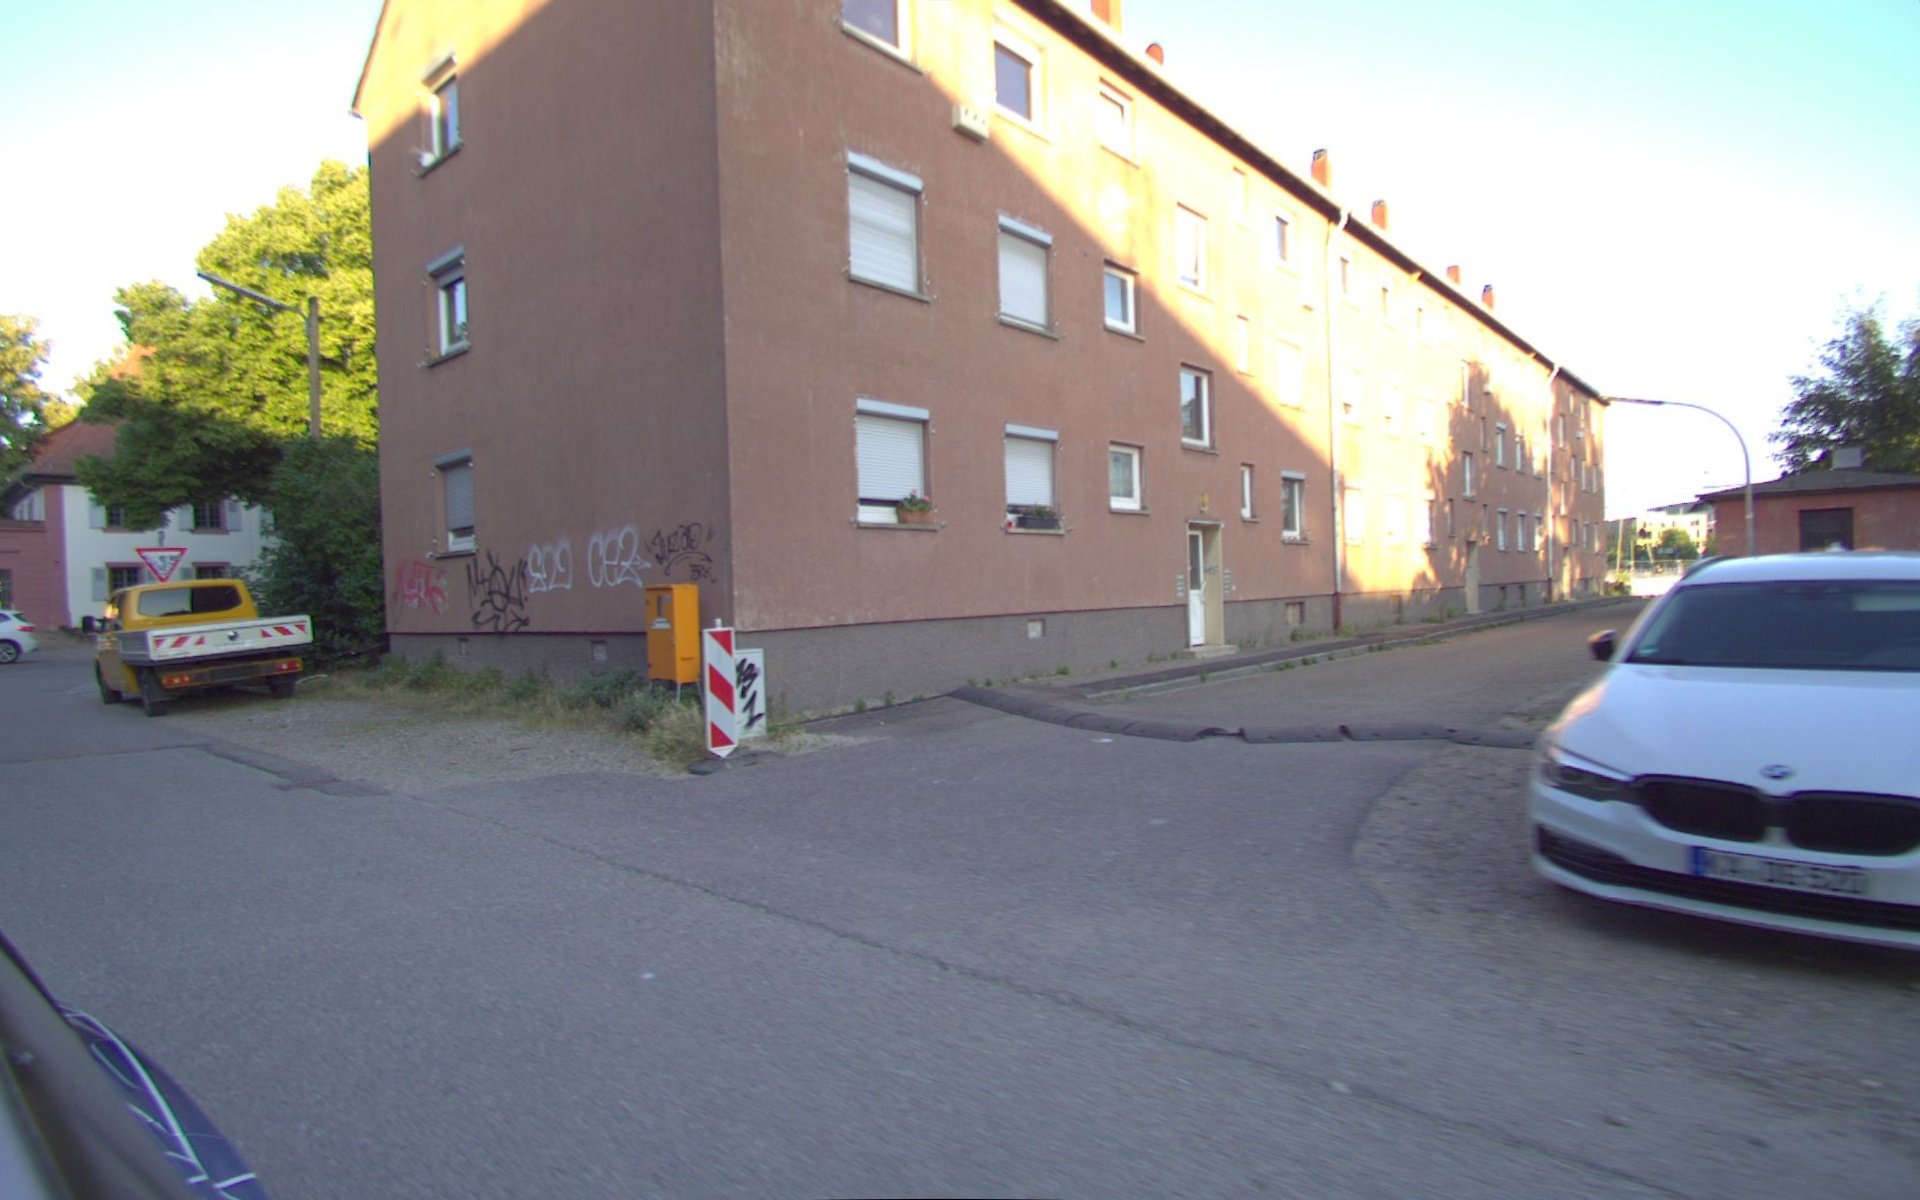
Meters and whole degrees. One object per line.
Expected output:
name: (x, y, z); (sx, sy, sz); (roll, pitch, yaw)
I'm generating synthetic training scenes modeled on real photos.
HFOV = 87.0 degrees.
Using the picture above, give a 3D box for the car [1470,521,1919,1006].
car: (4.621, 0.420, 5.165); (4.937, 1.556, 2.117); (-4, 2, -45)

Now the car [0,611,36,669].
car: (-28.320, 1.222, 27.615); (1.790, 1.568, 4.351); (-3, 0, 40)

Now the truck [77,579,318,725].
truck: (-12.526, 0.729, 16.442); (5.659, 1.927, 2.013); (-1, 2, 42)

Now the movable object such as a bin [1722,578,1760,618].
movable object such as a bin: (18.283, -0.041, 23.690); (0.645, 0.910, 0.605); (-2, 1, 41)

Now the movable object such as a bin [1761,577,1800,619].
movable object such as a bin: (18.831, -0.046, 23.223); (0.645, 0.910, 0.605); (-2, 1, 41)
